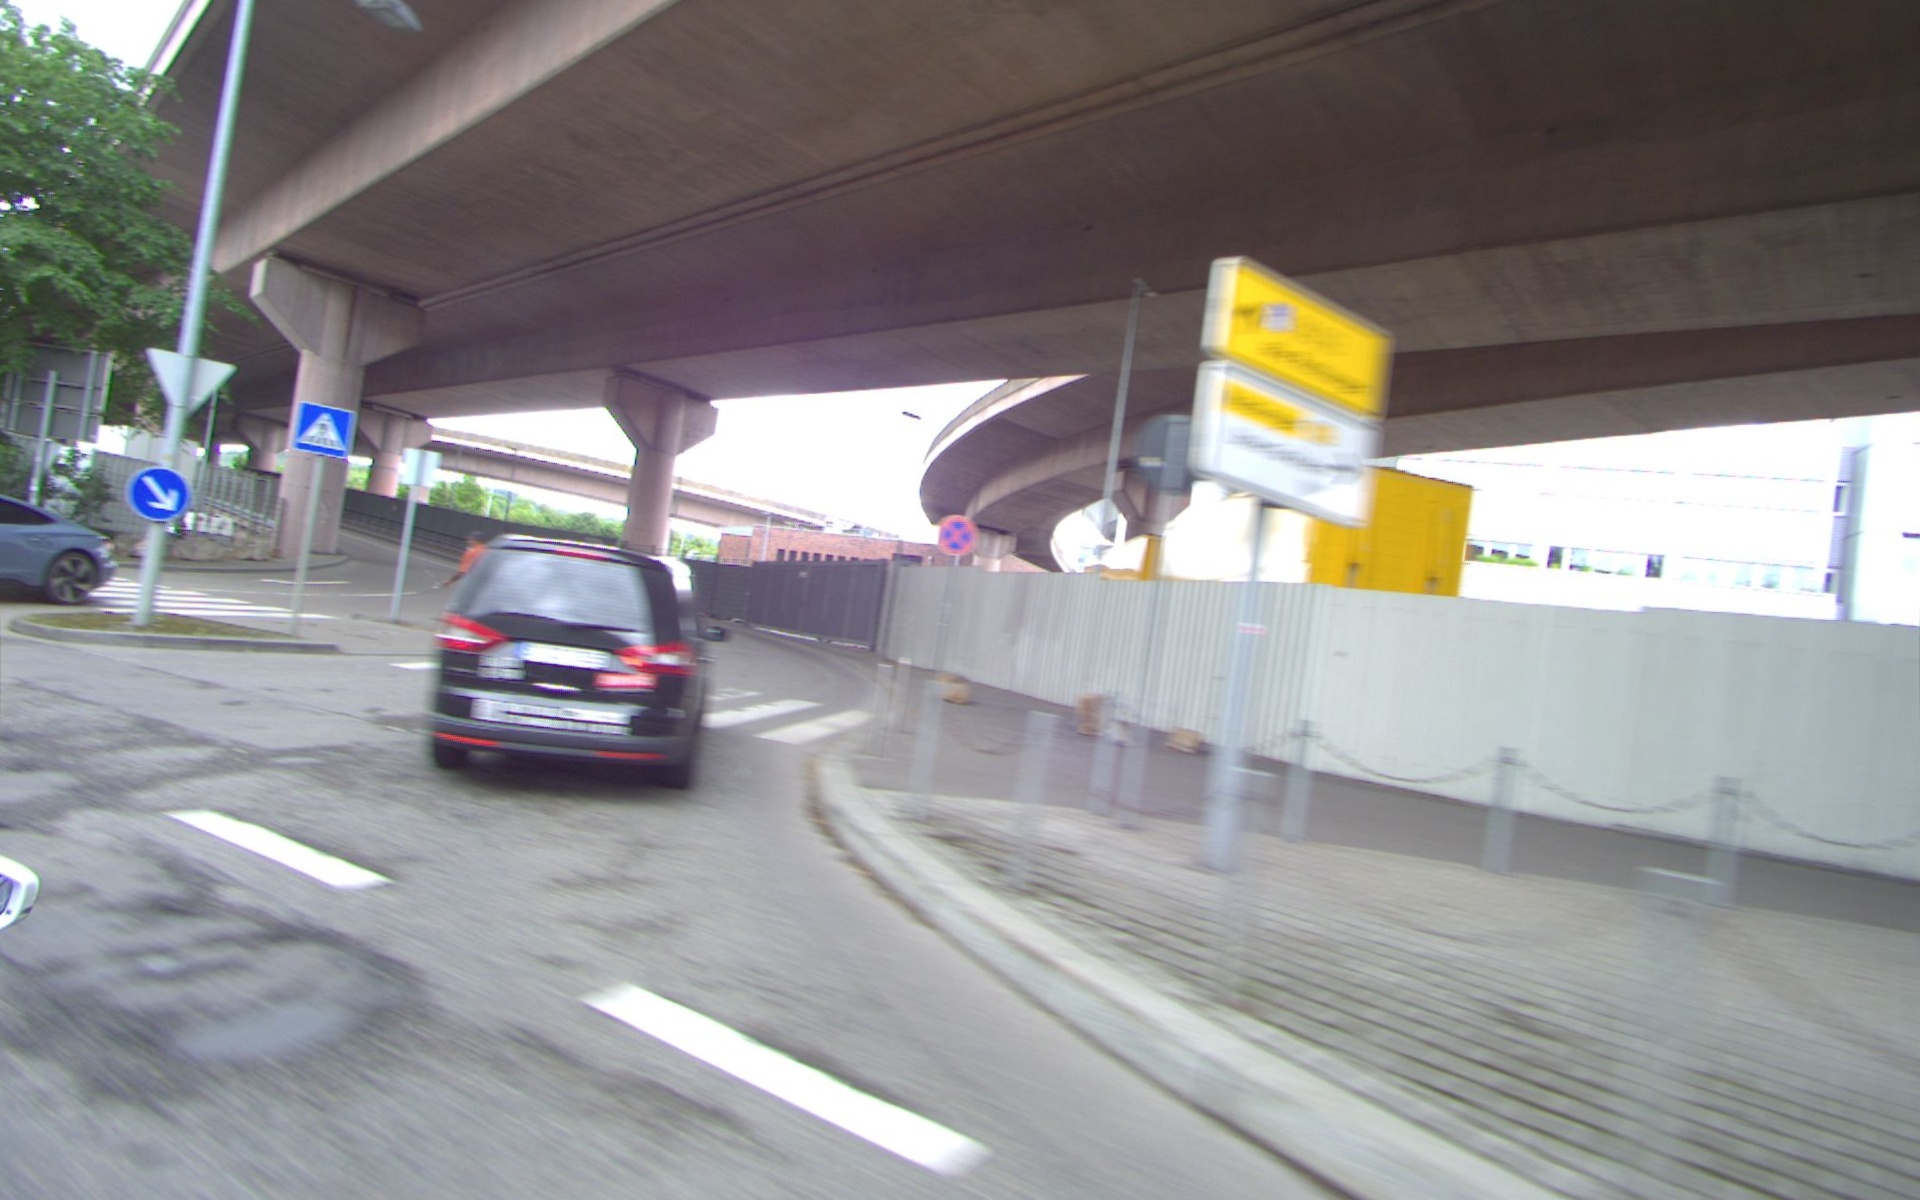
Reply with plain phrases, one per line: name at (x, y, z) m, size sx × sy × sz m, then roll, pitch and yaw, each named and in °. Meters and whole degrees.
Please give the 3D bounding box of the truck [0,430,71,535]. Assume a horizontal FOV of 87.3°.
truck at (-31.944, -4.093, 31.811) m, size 6.437 × 2.933 × 2.925 m, roll 9°, pitch 0°, yaw 22°

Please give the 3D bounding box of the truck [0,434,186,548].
truck at (-30.783, -3.852, 35.043) m, size 6.437 × 2.933 × 2.925 m, roll 9°, pitch 0°, yaw 22°

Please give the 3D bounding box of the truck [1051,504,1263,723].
truck at (5.236, 0.488, 28.981) m, size 3.093 × 4.958 × 8.717 m, roll 8°, pitch -2°, yaw -5°

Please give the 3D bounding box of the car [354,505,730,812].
car at (-3.083, 0.398, 8.516) m, size 1.968 × 1.699 × 4.551 m, roll 7°, pitch -1°, yaw -12°

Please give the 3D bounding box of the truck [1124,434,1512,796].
truck at (6.068, 0.385, 19.288) m, size 3.093 × 4.972 × 8.717 m, roll 8°, pitch -2°, yaw -5°

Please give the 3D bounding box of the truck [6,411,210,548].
truck at (-34.833, -4.942, 41.079) m, size 7.905 × 4.351 × 3.074 m, roll 9°, pitch 0°, yaw 26°

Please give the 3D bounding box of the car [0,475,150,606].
car at (-12.651, -0.899, 11.779) m, size 2.133 × 1.519 × 4.935 m, roll 8°, pitch -2°, yaw 1°

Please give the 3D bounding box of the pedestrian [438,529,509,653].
pedestrian at (-7.040, -0.120, 14.573) m, size 0.549 × 1.696 × 0.537 m, roll 8°, pitch 1°, yaw 31°
